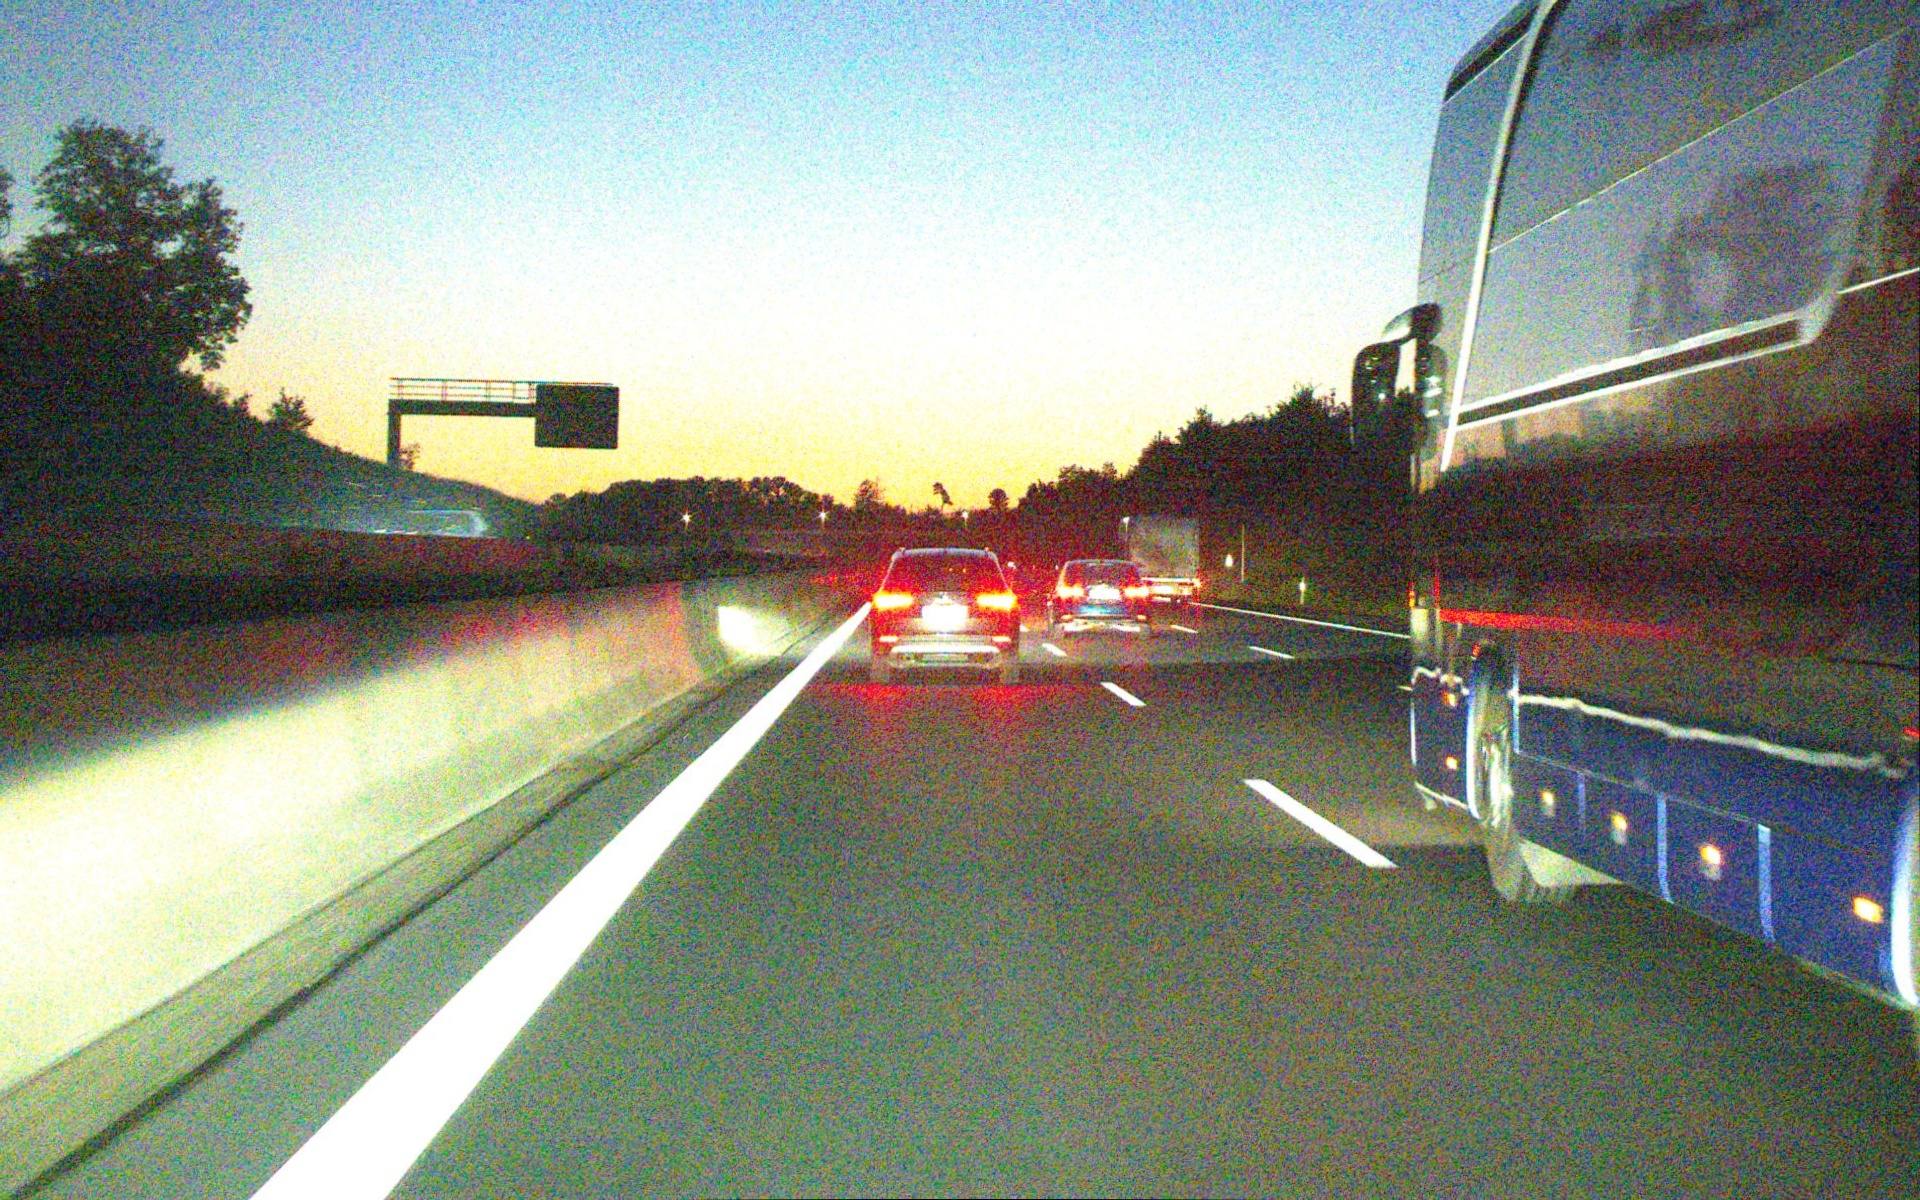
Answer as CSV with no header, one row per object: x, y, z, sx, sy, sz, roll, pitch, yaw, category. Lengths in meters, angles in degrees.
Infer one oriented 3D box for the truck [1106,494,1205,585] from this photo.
6.651,-2.076,117.740,2.602,2.865,7.486,4,1,-2,truck

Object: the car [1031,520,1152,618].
2.415,-0.579,64.030,1.911,1.724,4.000,1,1,-2,car

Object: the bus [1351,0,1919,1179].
3.584,-0.628,10.913,2.652,3.980,14.703,1,1,-1,bus

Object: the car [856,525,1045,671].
-0.169,-0.048,41.532,2.105,1.612,4.205,2,1,-2,car

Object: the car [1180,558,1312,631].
5.217,-0.123,63.259,1.911,1.270,4.000,1,1,-2,car
